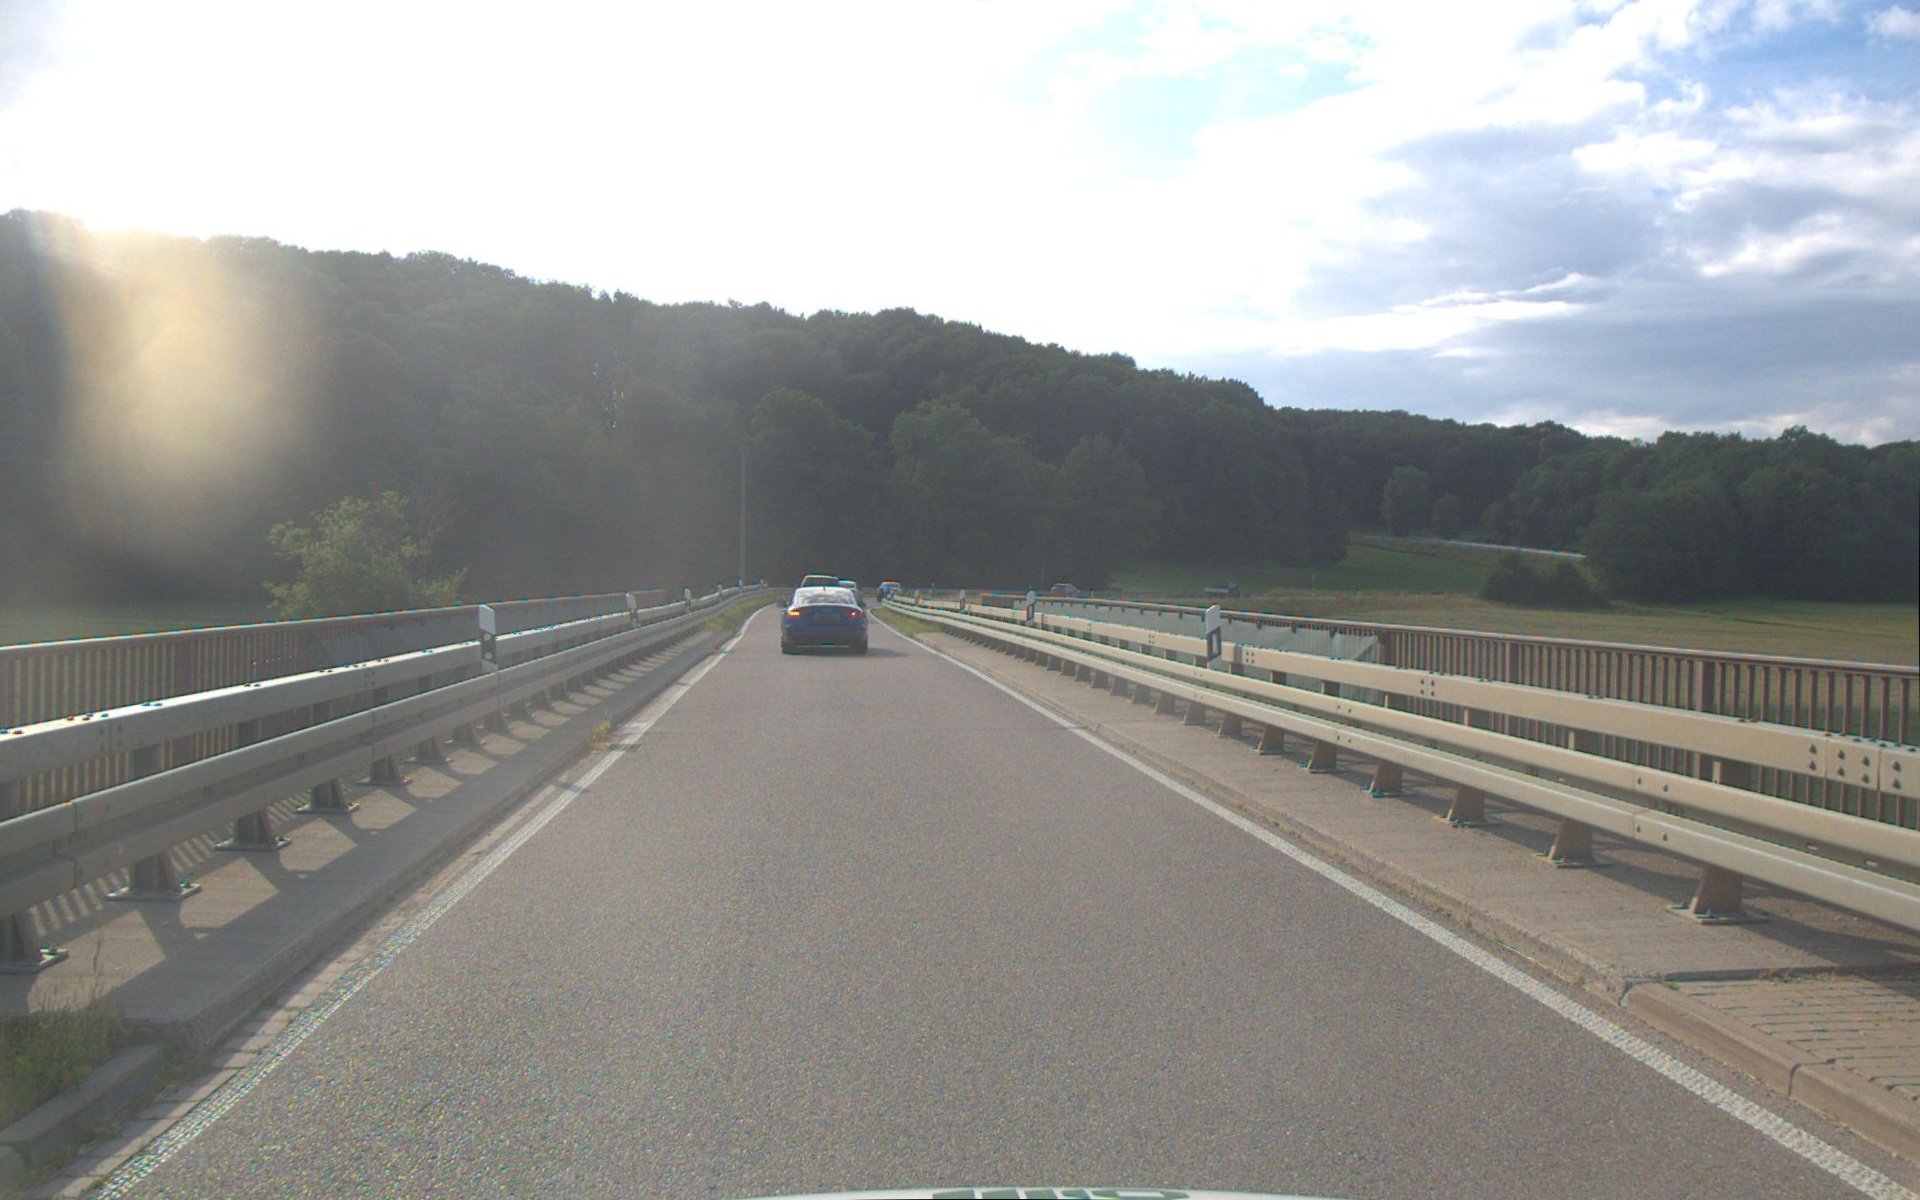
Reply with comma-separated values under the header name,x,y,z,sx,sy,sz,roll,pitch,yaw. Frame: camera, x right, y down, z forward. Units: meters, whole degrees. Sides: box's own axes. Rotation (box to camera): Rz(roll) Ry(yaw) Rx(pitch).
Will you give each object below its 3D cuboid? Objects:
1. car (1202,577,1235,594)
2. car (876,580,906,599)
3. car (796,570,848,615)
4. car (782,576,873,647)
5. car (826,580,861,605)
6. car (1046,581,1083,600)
name,x,y,z,sx,sy,sz,roll,pitch,yaw
car,30.340,-1.695,194.068,1.967,1.803,3.971,1,0,45
car,-4.896,-0.731,118.051,1.440,1.248,3.302,1,-1,10
car,-5.316,-0.308,63.544,1.826,1.596,3.995,1,1,-7
car,-2.915,0.206,35.737,1.784,1.362,4.344,1,1,-7
car,-6.618,-0.434,94.156,1.647,1.400,4.000,1,0,0
car,10.479,-0.918,166.106,1.958,1.708,4.168,3,0,31
